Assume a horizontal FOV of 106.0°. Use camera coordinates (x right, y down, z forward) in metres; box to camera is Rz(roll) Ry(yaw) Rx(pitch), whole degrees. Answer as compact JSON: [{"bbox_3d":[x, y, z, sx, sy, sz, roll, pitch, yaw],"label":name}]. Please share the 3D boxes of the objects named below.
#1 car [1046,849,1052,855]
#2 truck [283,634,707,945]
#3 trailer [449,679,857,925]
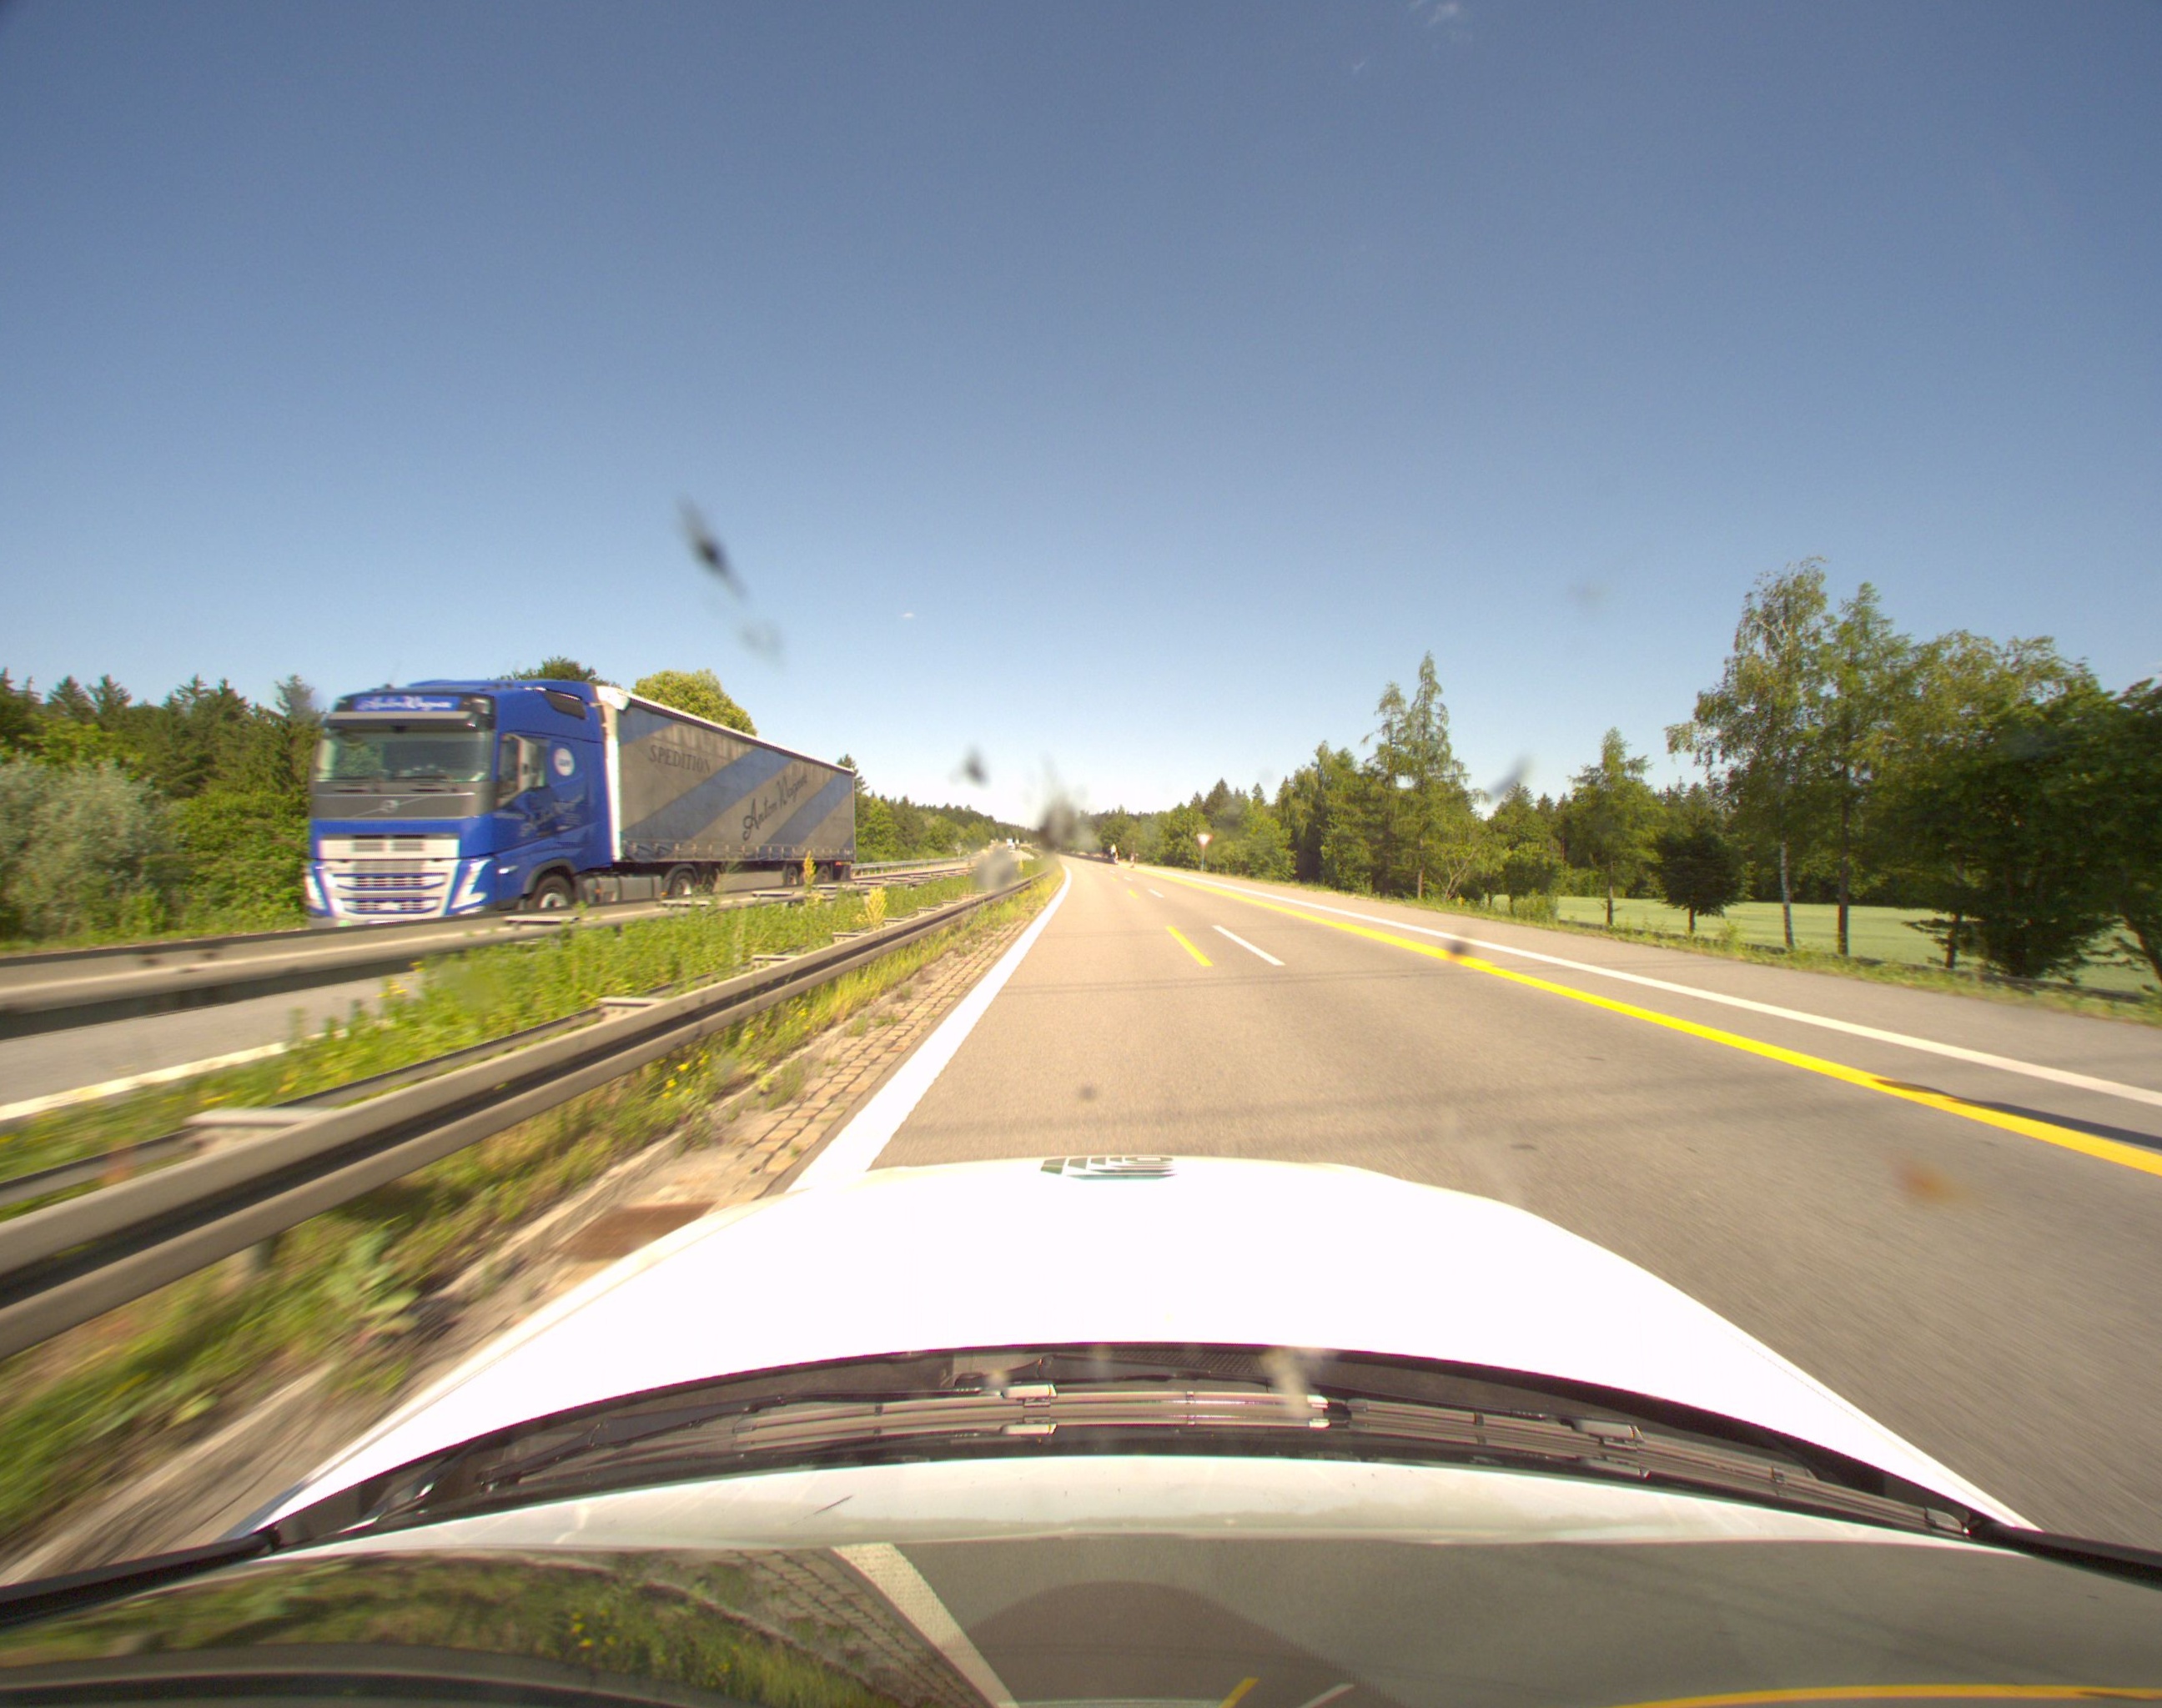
[{"bbox_3d":[-9.832,-0.634,250.534,1.741,1.466,4.286,2,1,-5],"label":"car"},{"bbox_3d":[-8.836,-0.816,13.332,2.623,3.959,5.844,0,0,1],"label":"truck"},{"bbox_3d":[-8.830,-0.909,20.075,2.670,3.954,13.768,-1,0,0],"label":"trailer"}]
